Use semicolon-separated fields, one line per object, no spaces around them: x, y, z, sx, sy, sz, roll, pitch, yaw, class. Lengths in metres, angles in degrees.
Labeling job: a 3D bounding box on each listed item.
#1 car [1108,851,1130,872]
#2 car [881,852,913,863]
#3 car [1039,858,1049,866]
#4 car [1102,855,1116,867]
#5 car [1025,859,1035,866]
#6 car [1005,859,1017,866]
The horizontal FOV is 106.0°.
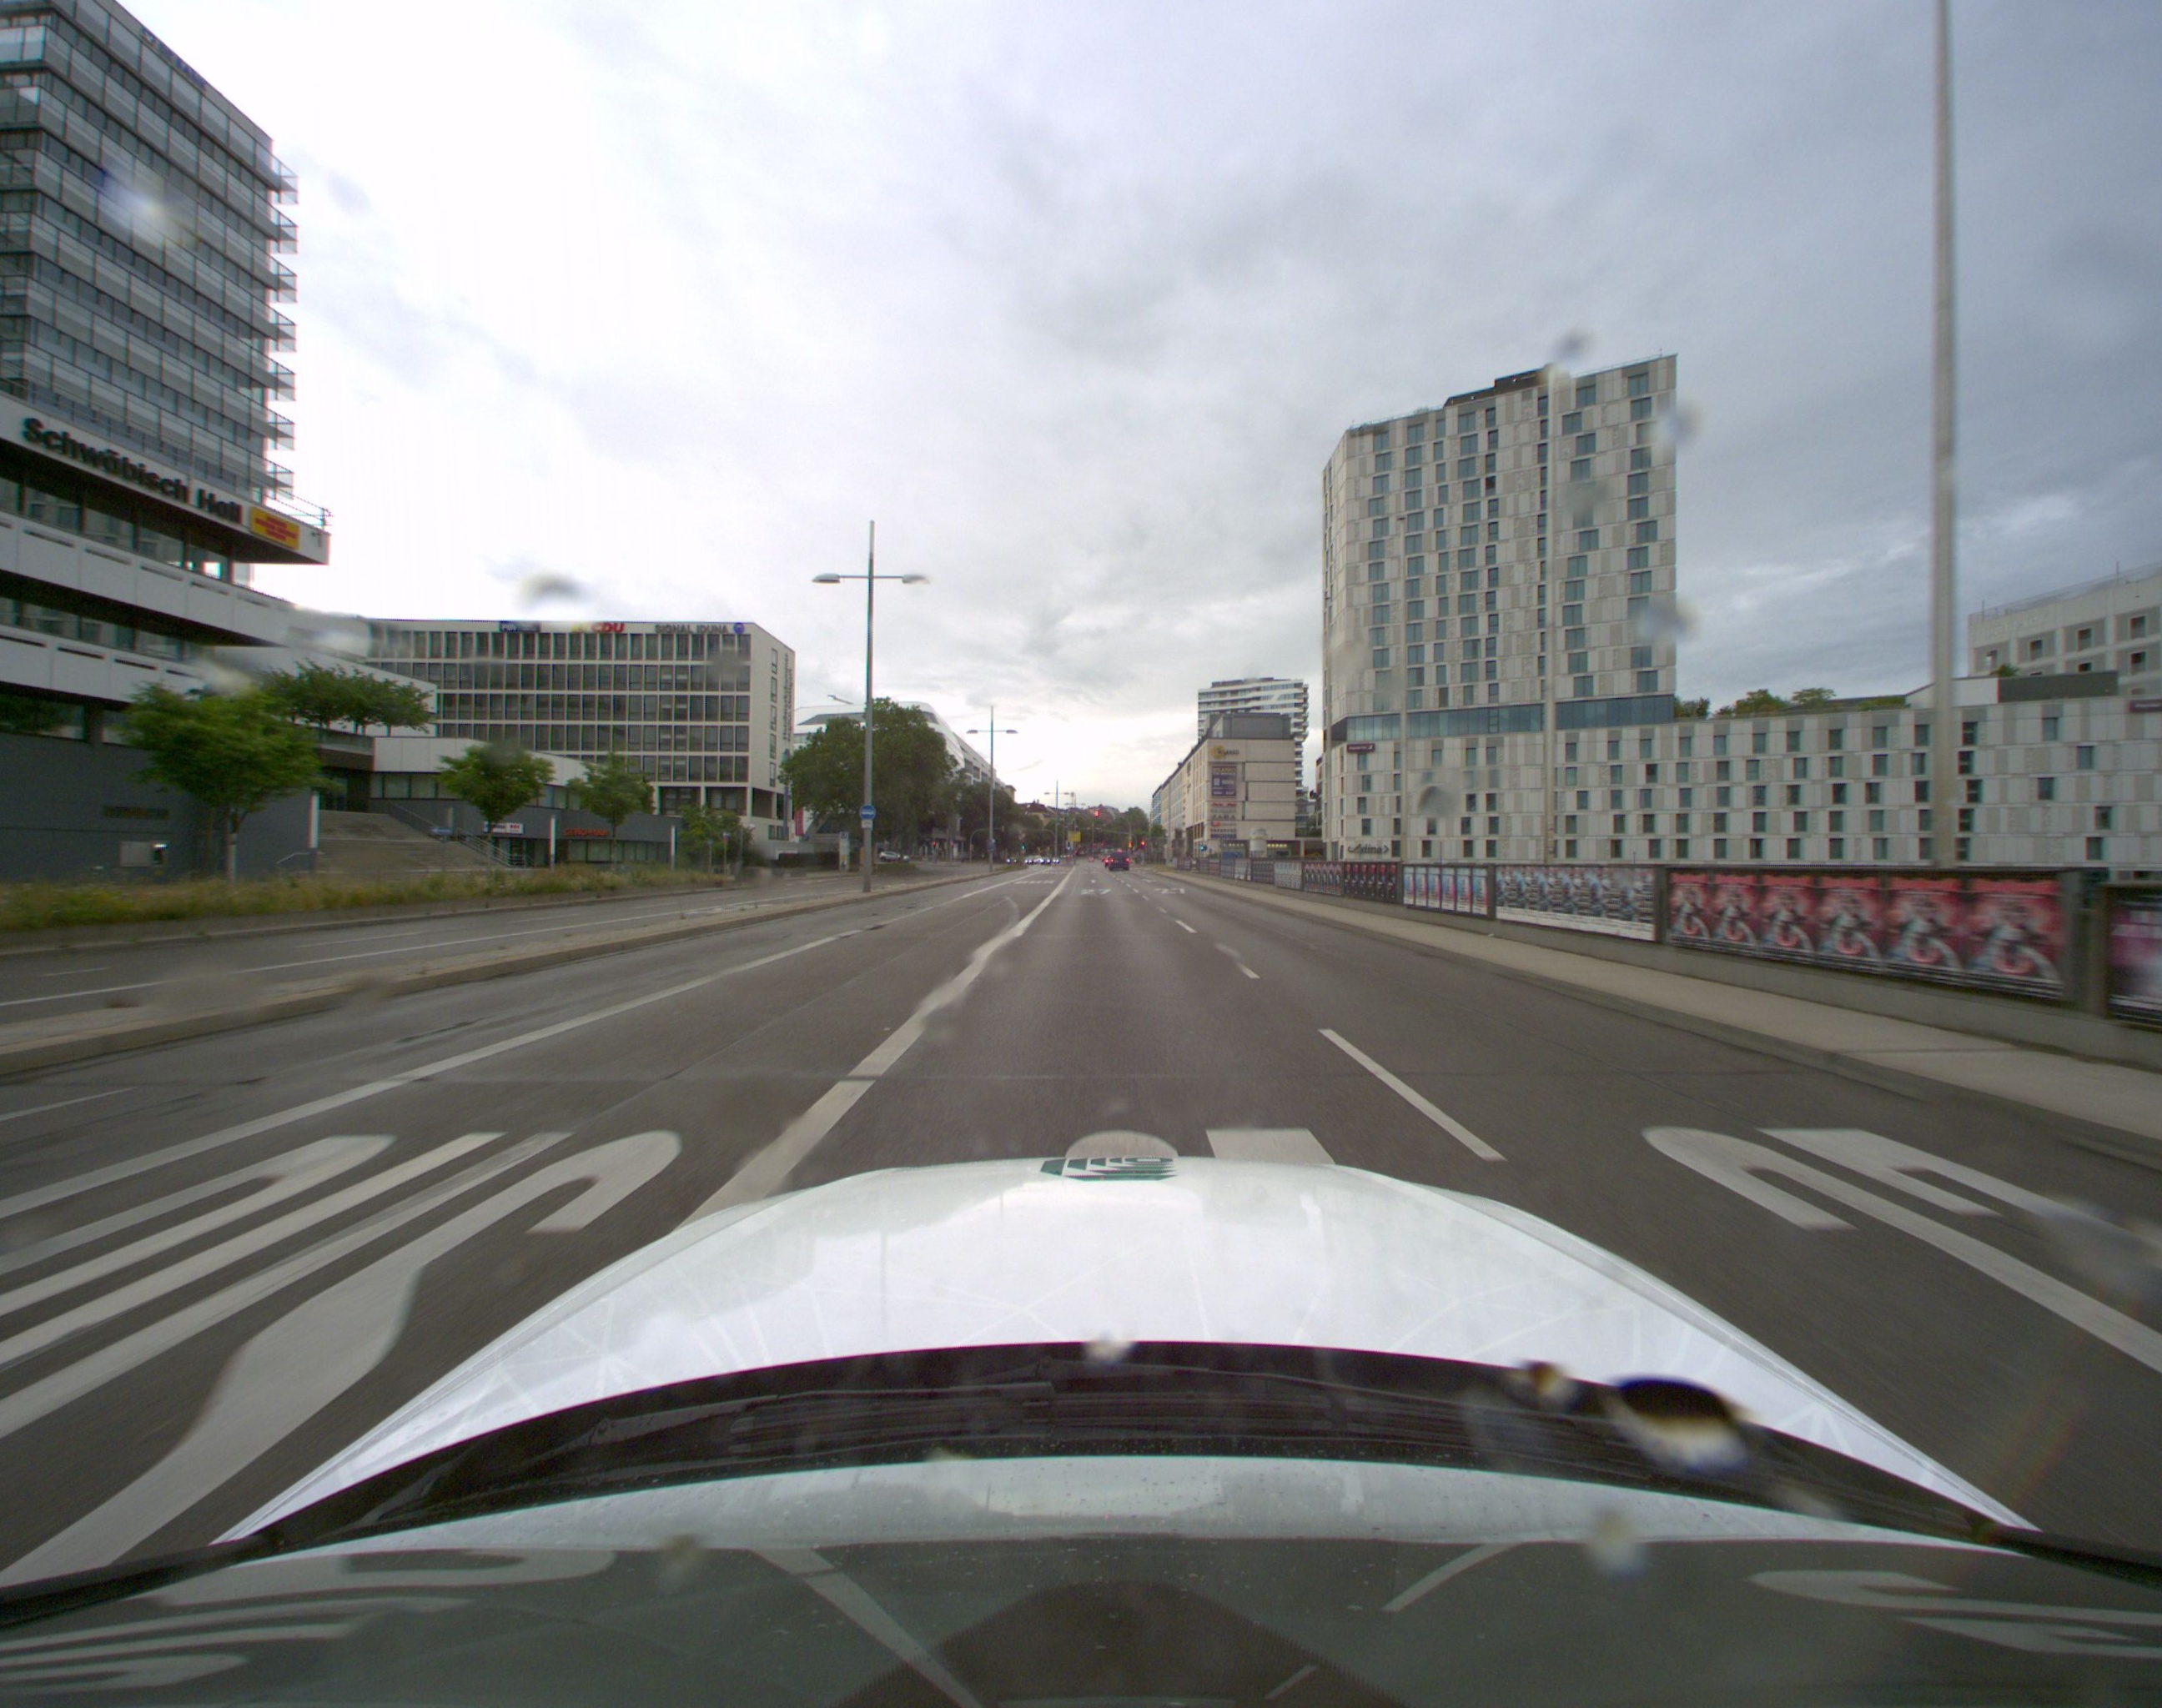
3.836;0.746;82.497;2.026;1.882;5.043;-3;0;1;car
-28.617;0.506;126.376;4.467;1.631;1.903;-1;-1;16;car
-6.906;1.528;152.996;1.737;1.444;3.394;-1;-1;1;car
3.650;0.942;106.962;1.734;1.531;3.814;-1;-1;1;car
-9.638;1.590;154.092;1.737;1.257;3.540;0;0;1;car
-13.187;1.586;153.688;1.737;1.328;4.225;-1;-1;1;car
